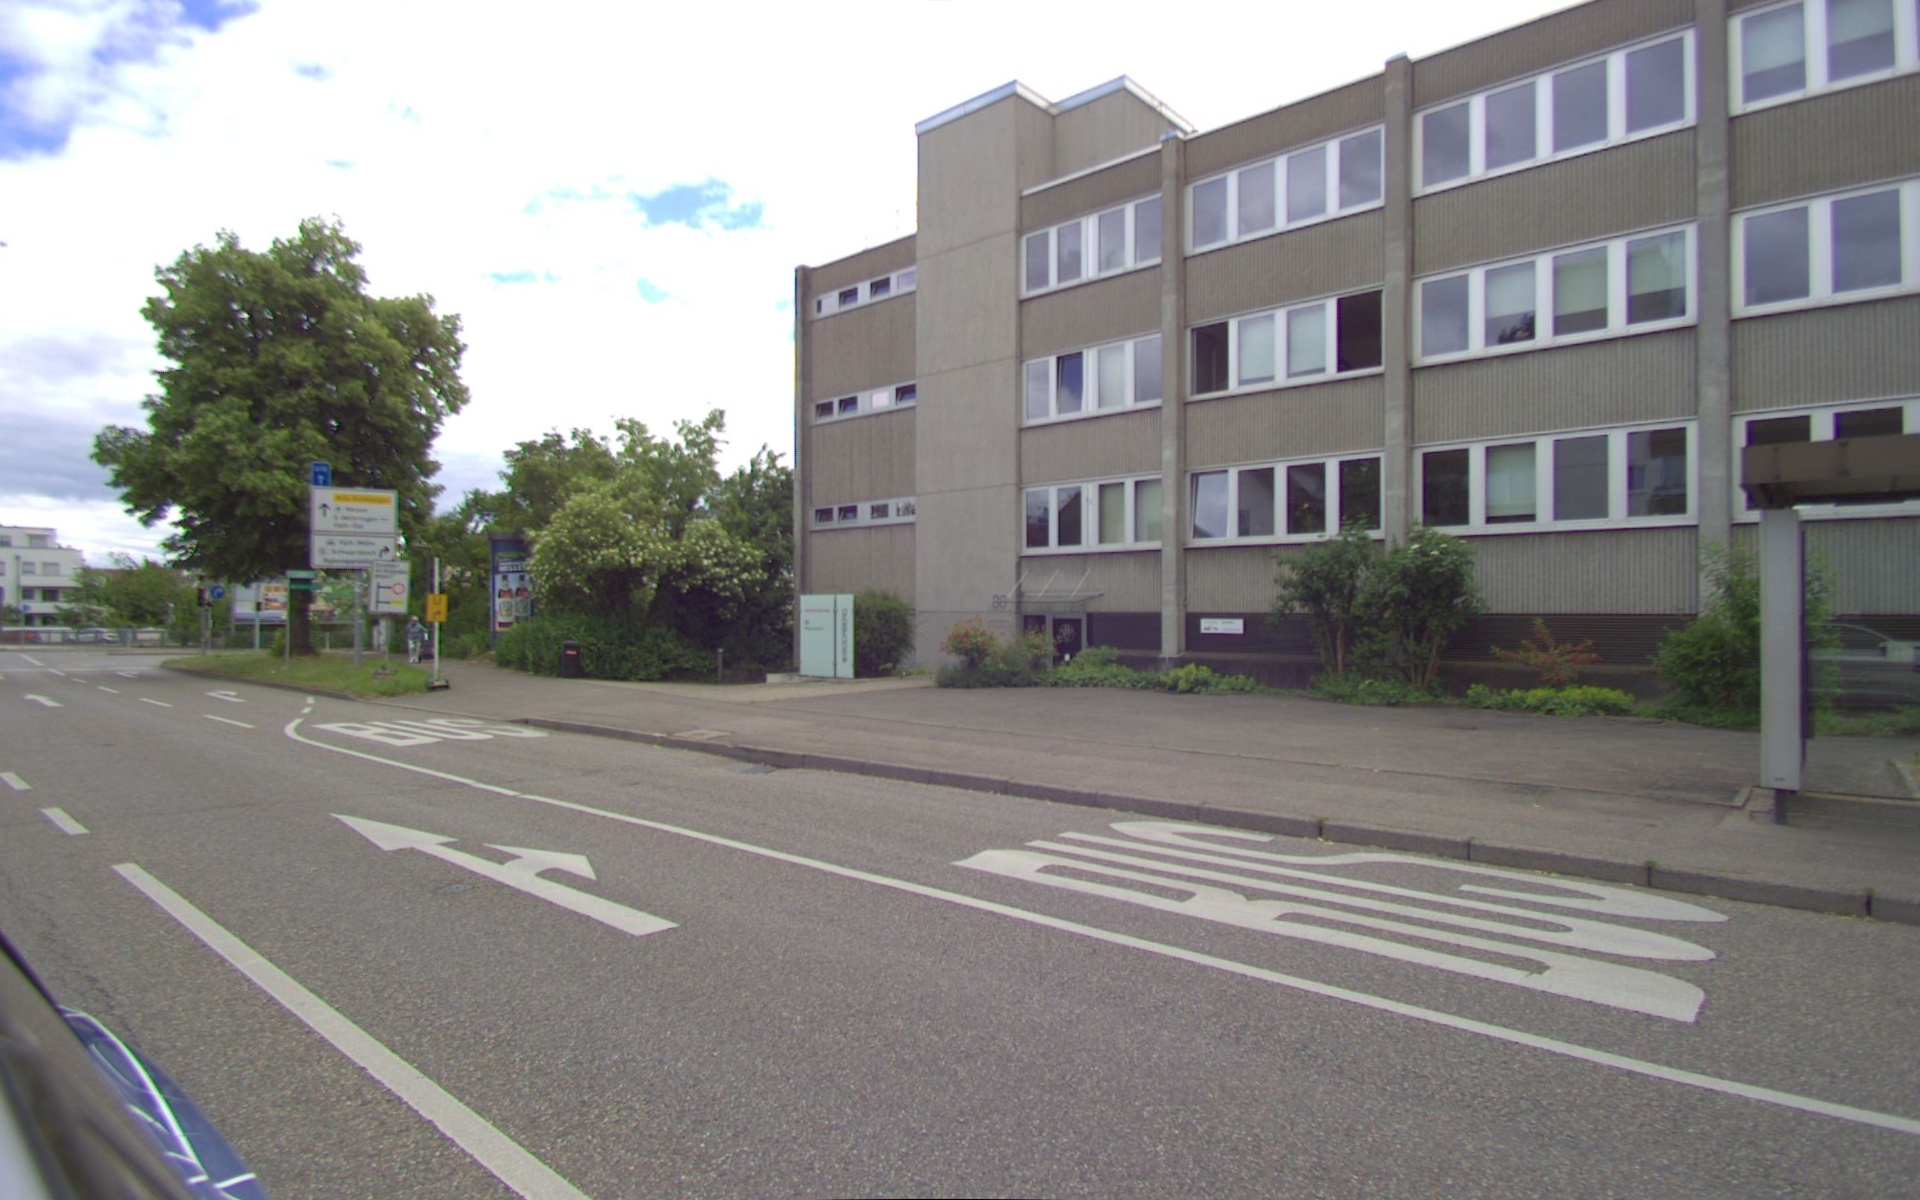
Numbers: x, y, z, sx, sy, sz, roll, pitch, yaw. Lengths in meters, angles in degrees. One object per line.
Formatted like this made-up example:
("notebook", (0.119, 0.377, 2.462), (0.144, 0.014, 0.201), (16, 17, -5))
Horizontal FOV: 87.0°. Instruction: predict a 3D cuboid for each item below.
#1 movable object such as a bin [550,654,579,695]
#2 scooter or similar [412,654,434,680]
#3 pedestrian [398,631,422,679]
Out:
("movable object such as a bin", (-9.716, 1.822, 24.877), (0.558, 0.934, 0.609), (0, -1, -33))
("scooter or similar", (-17.799, 2.215, 33.545), (0.598, 0.792, 0.861), (-1, 0, -32))
("pedestrian", (-18.609, 1.859, 34.234), (0.662, 1.570, 0.521), (-1, 0, -32))
